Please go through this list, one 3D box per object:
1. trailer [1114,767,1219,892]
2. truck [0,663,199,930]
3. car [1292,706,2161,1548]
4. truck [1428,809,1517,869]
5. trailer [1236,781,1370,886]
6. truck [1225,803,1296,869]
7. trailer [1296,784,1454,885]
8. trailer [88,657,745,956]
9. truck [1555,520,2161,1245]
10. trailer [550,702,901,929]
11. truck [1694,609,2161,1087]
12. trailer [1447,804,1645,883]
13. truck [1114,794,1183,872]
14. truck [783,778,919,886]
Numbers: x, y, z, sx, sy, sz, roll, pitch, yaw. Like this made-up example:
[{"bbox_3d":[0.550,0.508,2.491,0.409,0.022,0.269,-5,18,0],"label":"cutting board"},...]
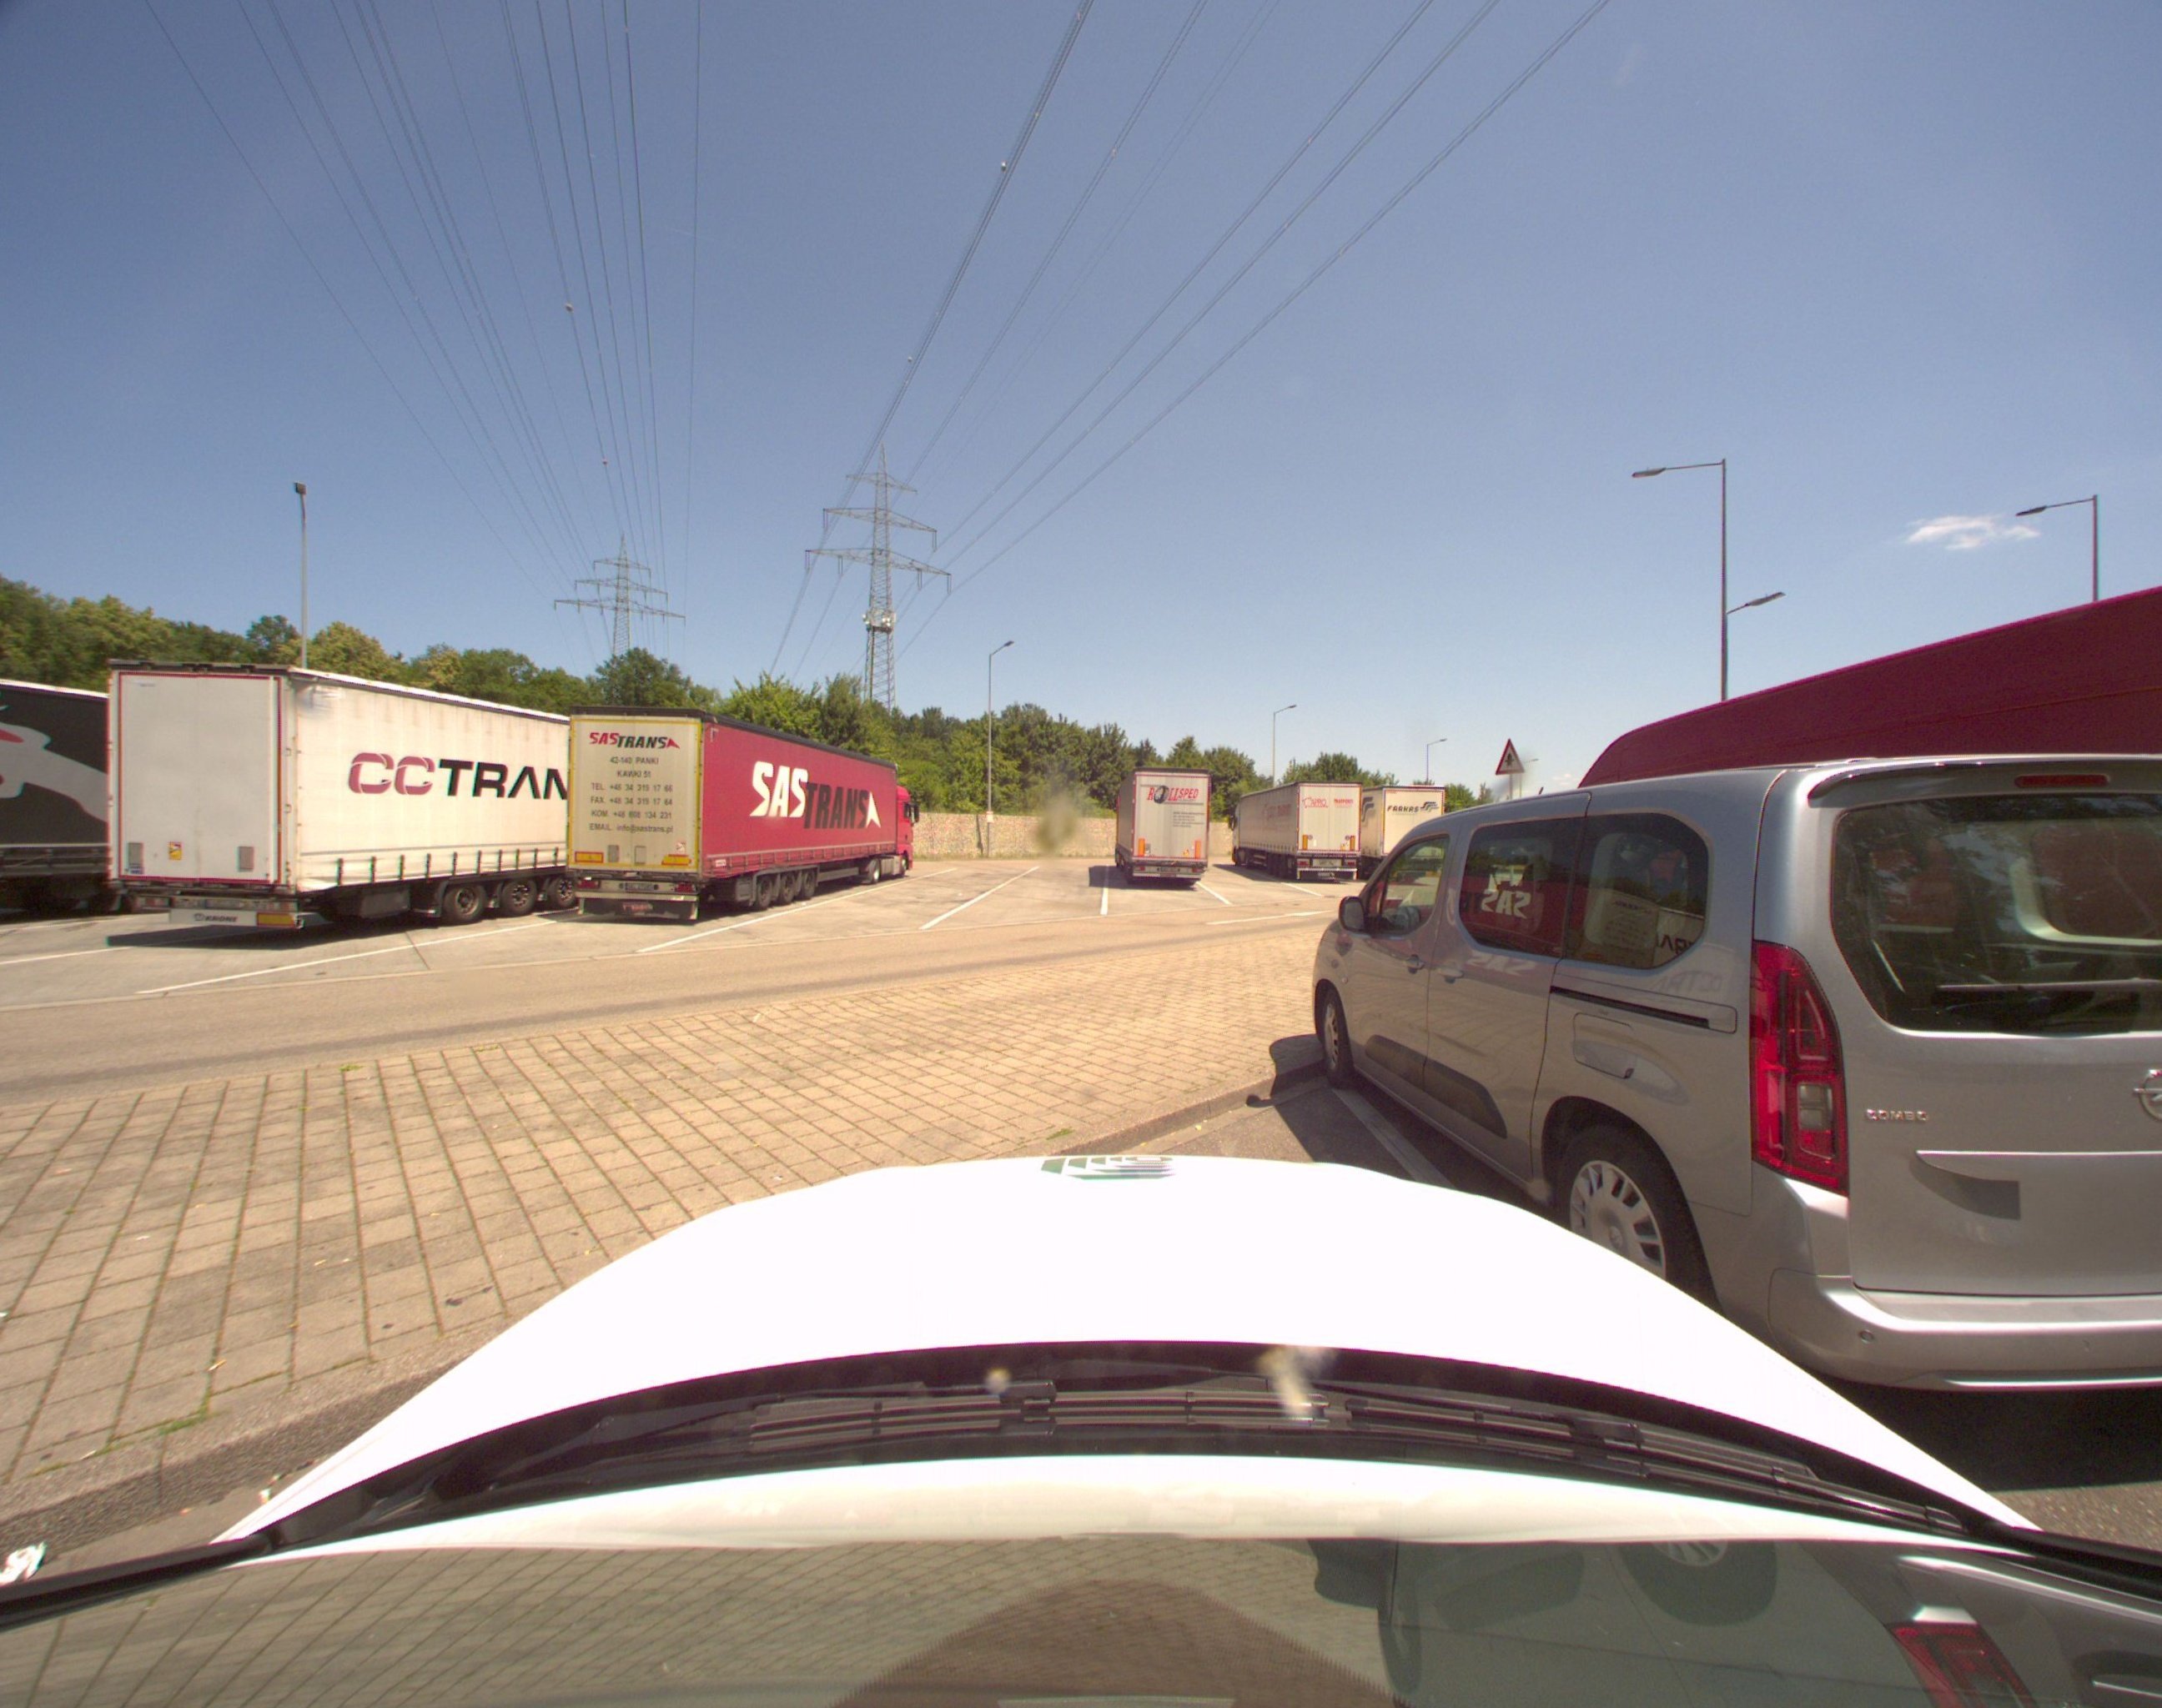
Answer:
[{"bbox_3d":[3.066,-1.059,33.712,3.122,3.989,14.401,1,2,1],"label":"trailer"},{"bbox_3d":[-18.538,-0.968,13.800,2.726,4.239,3.997,1,2,2],"label":"truck"},{"bbox_3d":[2.492,0.577,3.899,1.864,1.863,4.176,1,1,0],"label":"car"},{"bbox_3d":[24.358,-0.996,51.001,2.792,3.521,5.903,1,2,2],"label":"truck"},{"bbox_3d":[9.932,-1.038,38.660,2.801,3.989,14.403,1,2,2],"label":"trailer"},{"bbox_3d":[10.194,-1.067,46.762,2.852,3.521,5.903,1,2,2],"label":"truck"},{"bbox_3d":[13.605,-1.029,39.623,2.801,3.989,14.403,1,2,2],"label":"trailer"},{"bbox_3d":[-12.125,-0.908,18.352,2.785,4.084,14.139,1,2,2],"label":"trailer"},{"bbox_3d":[5.138,0.123,4.923,1.968,2.622,5.314,0,-1,7],"label":"truck"},{"bbox_3d":[-8.061,-0.944,21.921,2.781,4.084,14.139,1,2,2],"label":"trailer"},{"bbox_3d":[7.994,-0.032,6.471,2.444,2.912,5.663,-1,-1,7],"label":"truck"},{"bbox_3d":[24.102,-0.725,43.770,2.801,3.507,14.403,1,2,2],"label":"trailer"},{"bbox_3d":[3.232,-1.074,40.606,3.092,3.566,5.903,1,2,2],"label":"truck"},{"bbox_3d":[-7.813,-0.780,28.491,2.840,3.327,5.903,1,2,2],"label":"truck"}]
